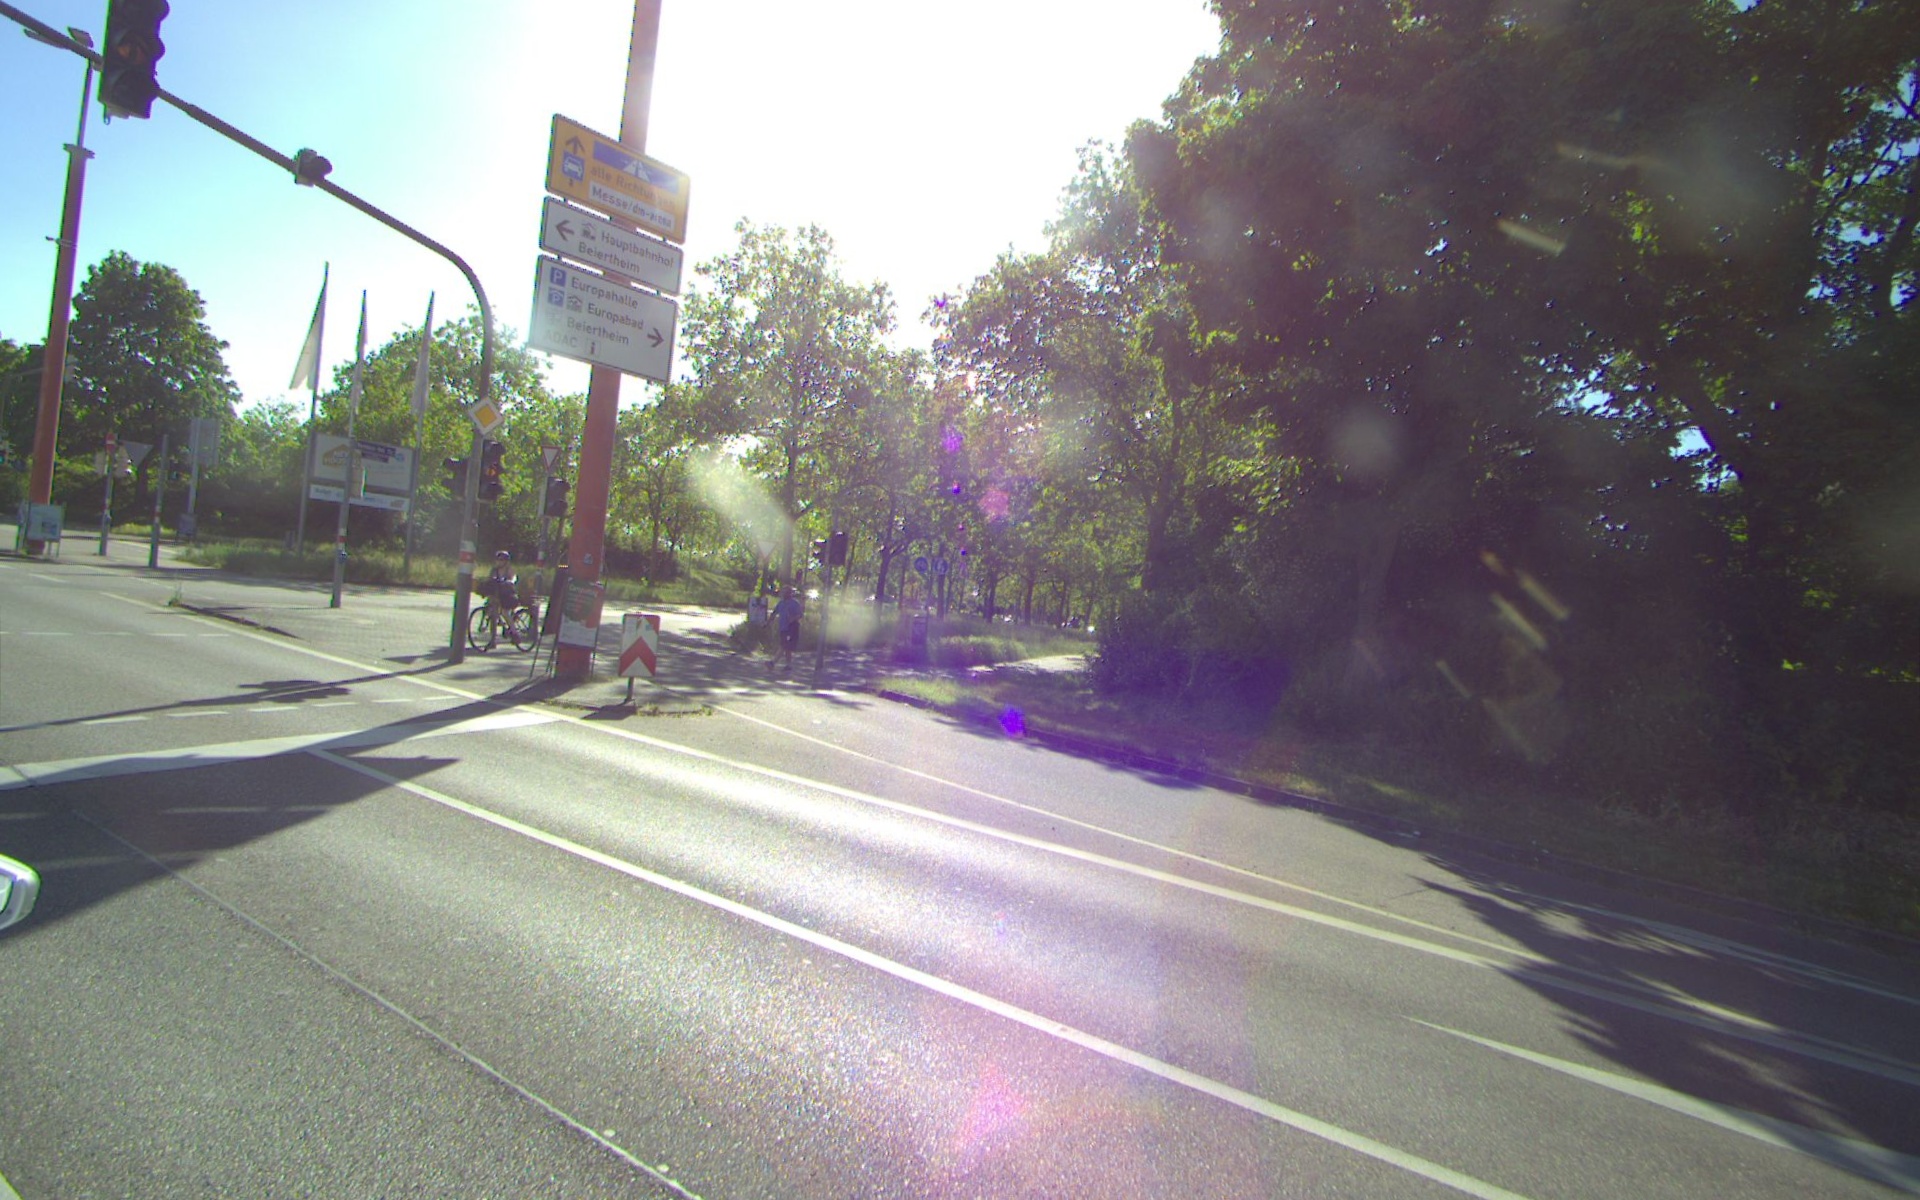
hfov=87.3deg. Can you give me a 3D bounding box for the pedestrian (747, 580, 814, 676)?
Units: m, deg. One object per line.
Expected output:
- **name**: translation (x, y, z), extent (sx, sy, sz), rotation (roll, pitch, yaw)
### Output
- **pedestrian**: translation (-3.652, 0.578, 20.563), extent (0.883, 1.810, 0.895), rotation (8, 0, 8)

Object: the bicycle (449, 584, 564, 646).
- **bicycle**: translation (-7.335, 0.265, 16.399), extent (0.549, 0.889, 2.170), rotation (7, -1, 9)

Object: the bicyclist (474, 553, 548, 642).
- **bicyclist**: translation (-7.375, -0.025, 16.550), extent (0.694, 1.358, 0.742), rotation (7, 0, 8)
